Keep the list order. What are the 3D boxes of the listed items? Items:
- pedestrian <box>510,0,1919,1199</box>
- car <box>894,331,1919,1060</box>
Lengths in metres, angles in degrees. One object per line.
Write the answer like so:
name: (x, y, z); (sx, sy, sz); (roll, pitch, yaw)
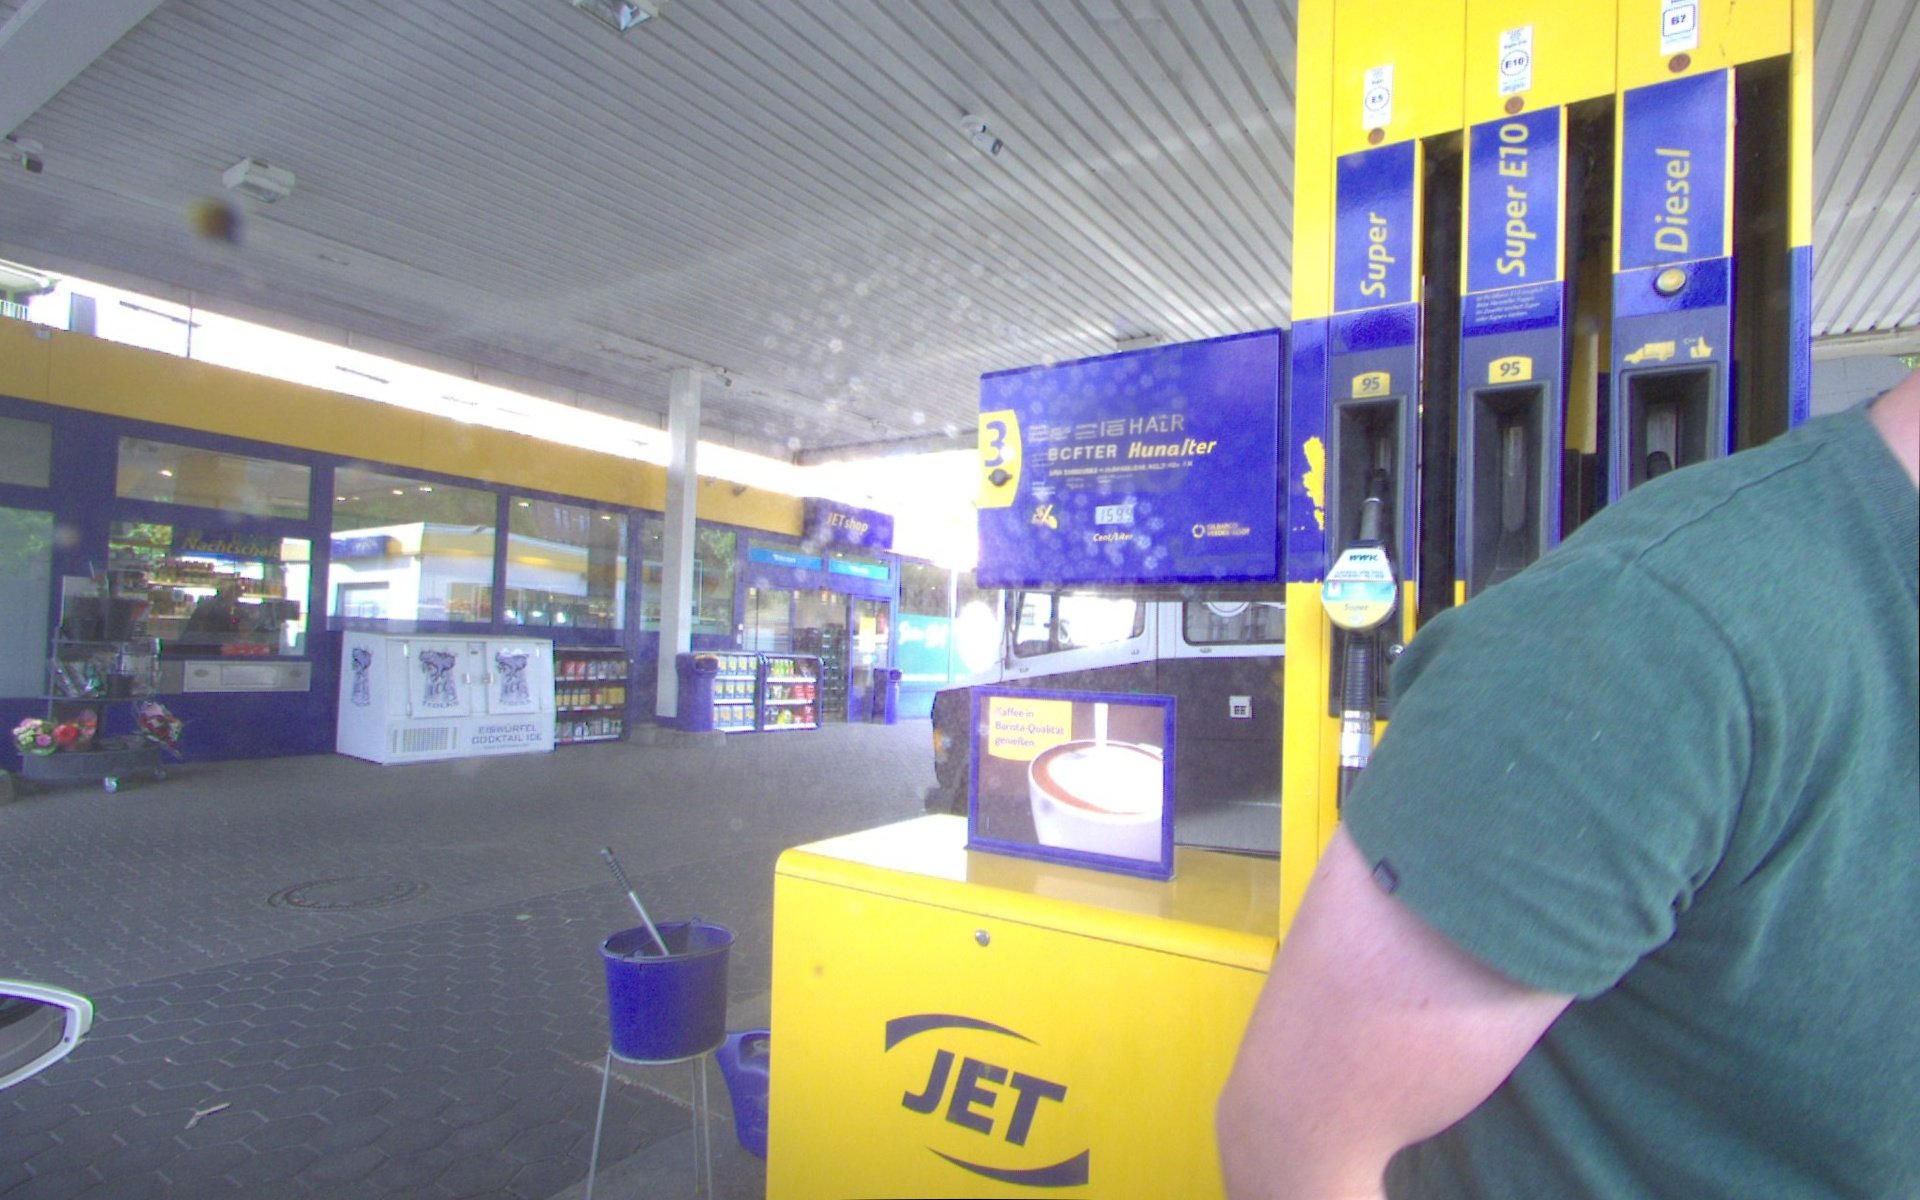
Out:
pedestrian: (0.547, 0.564, 0.538); (1.167, 1.750, 0.988); (-2, -2, 35)
car: (2.365, 0.439, 6.001); (5.271, 2.759, 2.193); (-1, -3, 34)
